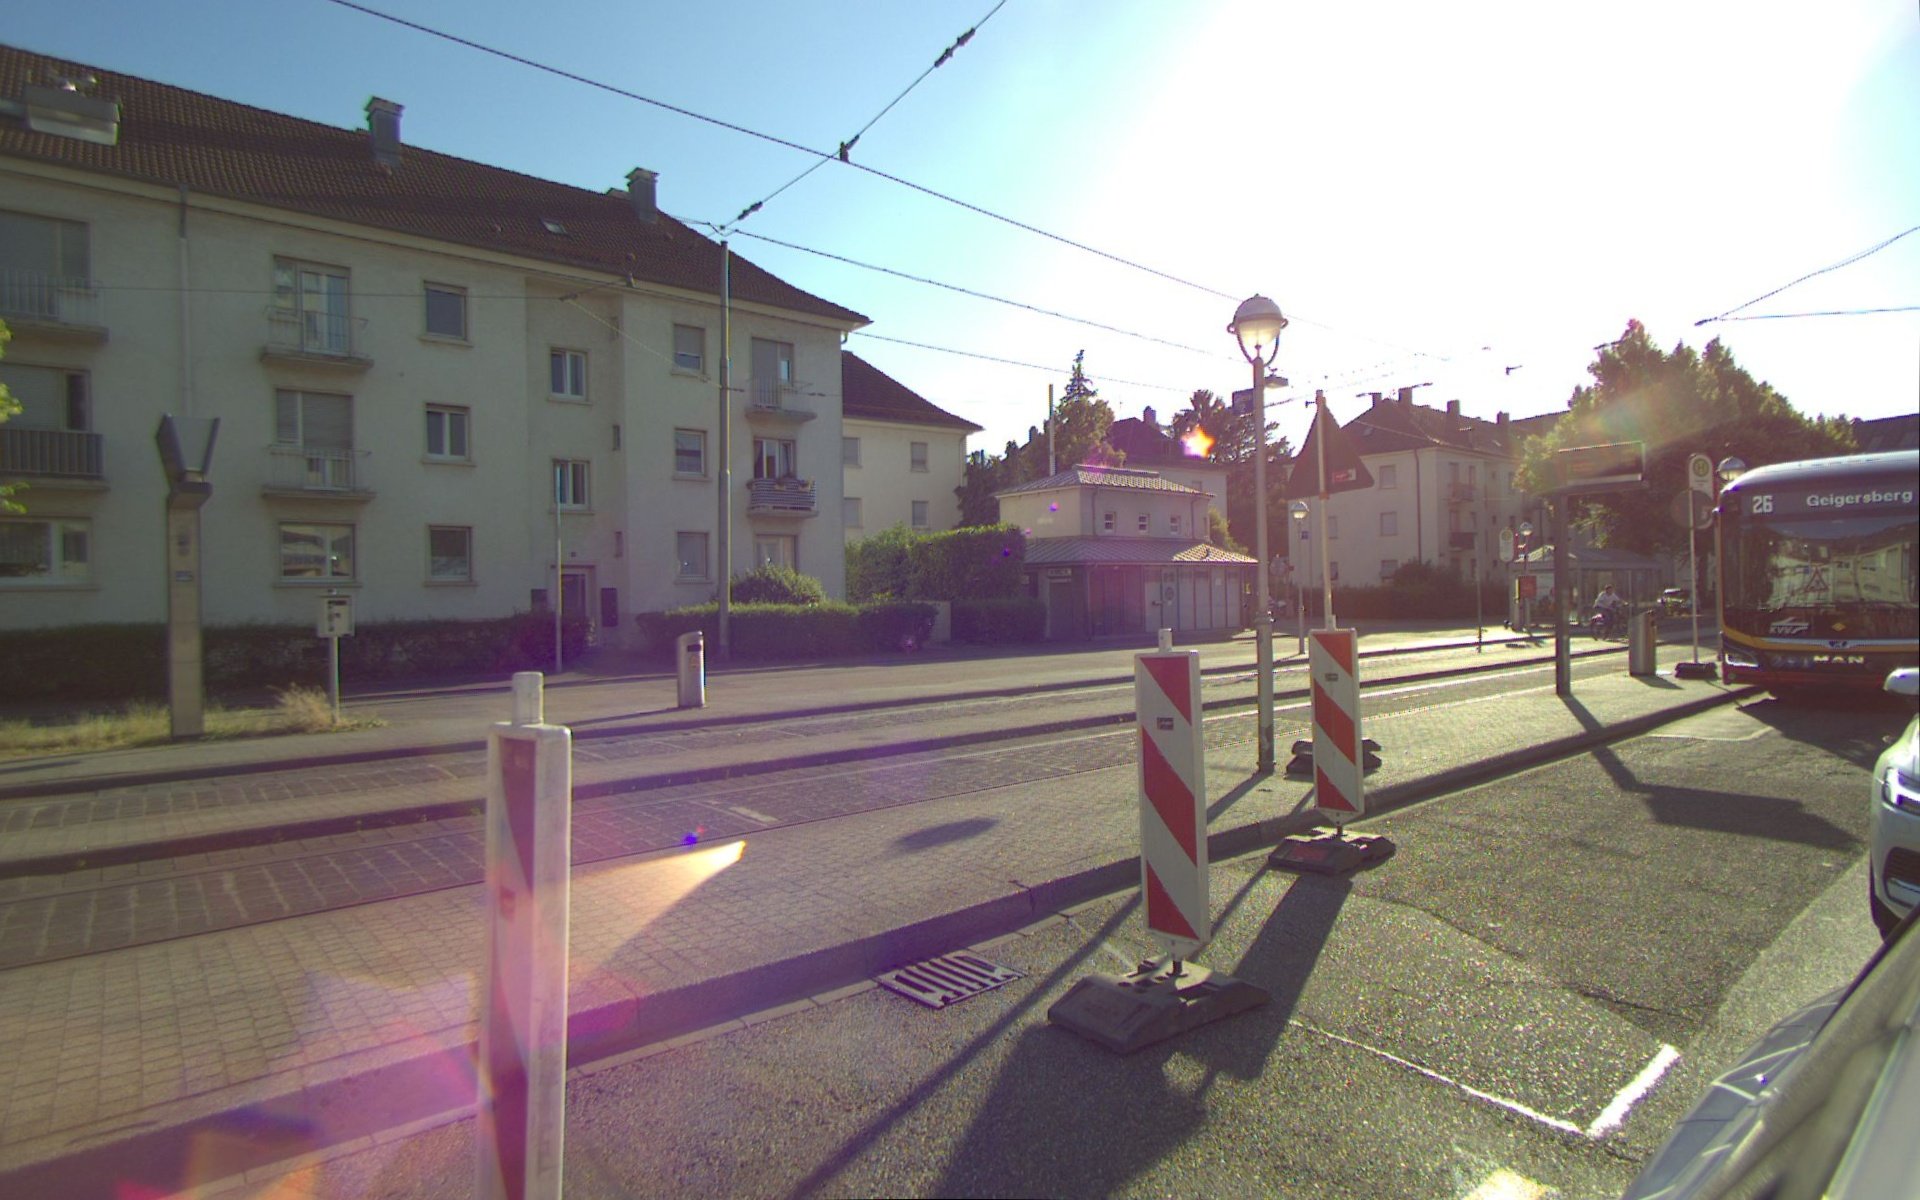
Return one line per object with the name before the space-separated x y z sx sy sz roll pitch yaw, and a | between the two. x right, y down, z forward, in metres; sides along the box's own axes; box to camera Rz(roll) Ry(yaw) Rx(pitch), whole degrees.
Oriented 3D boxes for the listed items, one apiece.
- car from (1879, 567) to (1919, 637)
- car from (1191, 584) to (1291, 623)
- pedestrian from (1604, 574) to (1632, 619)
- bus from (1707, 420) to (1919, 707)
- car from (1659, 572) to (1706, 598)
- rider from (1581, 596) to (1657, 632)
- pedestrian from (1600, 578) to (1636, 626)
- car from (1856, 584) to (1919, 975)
car | 22.243 0.006 22.571 4.739 1.477 1.968 -1 1 -40
car | 13.012 0.193 47.037 1.964 1.694 4.051 -1 0 -38
pedestrian | 24.343 -0.125 37.442 0.819 1.631 0.833 0 1 32
bus | 15.221 -0.511 16.170 11.821 3.344 2.746 -1 1 -41
car | 55.735 -1.178 78.055 3.929 1.887 1.997 -1 1 -40
rider | 19.312 0.387 29.711 0.568 1.004 1.861 -1 1 -24
pedestrian | 19.305 0.045 29.698 0.568 1.398 0.660 -1 0 -24
car | 5.663 0.654 4.576 4.143 1.472 1.820 -1 1 -40
